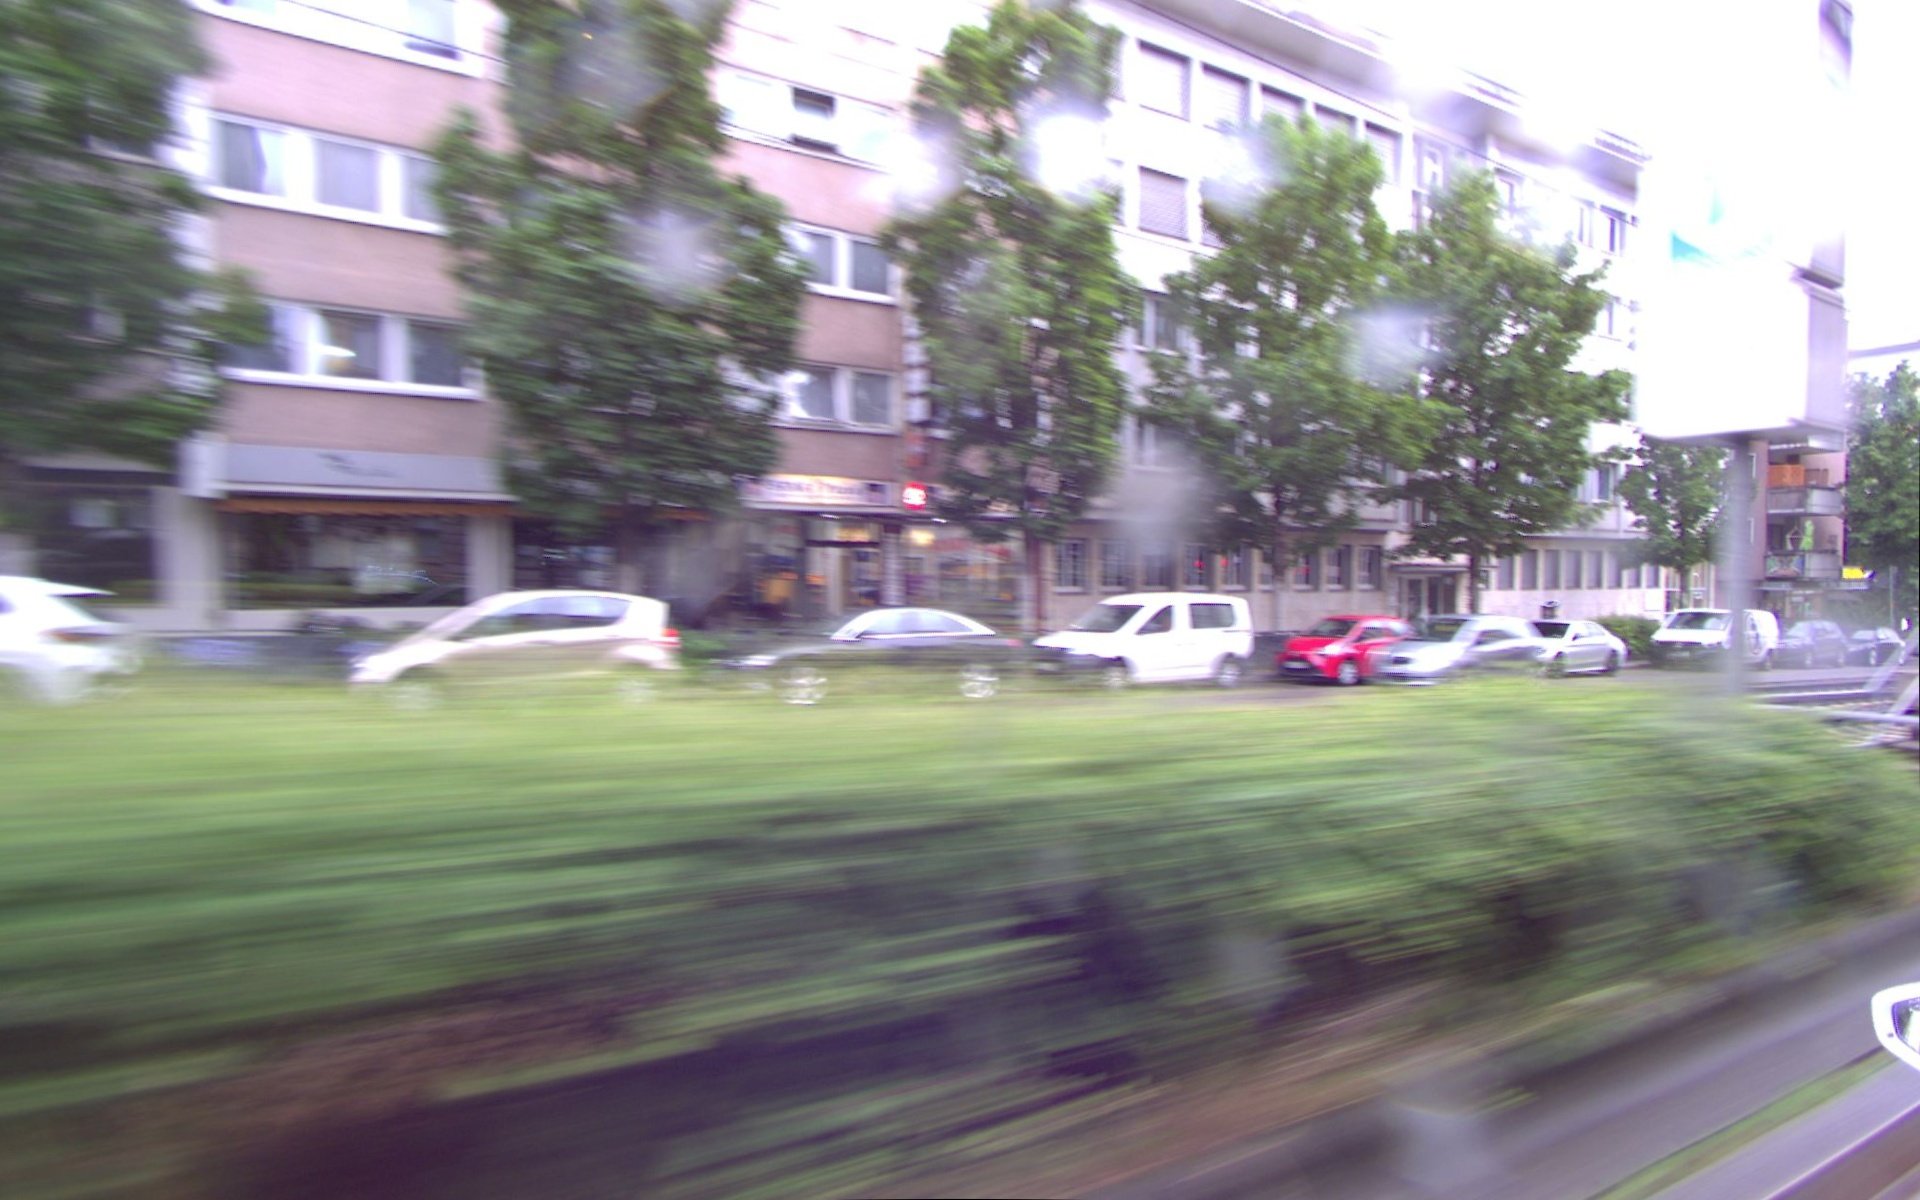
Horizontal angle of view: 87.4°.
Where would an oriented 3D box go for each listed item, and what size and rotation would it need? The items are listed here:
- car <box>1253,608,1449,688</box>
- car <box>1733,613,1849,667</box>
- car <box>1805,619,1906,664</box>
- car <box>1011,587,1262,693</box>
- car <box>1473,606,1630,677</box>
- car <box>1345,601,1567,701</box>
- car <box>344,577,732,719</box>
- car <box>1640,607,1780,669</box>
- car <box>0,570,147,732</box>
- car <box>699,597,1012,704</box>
[{"bbox_3d":[8.538,1.056,21.882,3.999,1.547,1.846,3,0,-31],"label":"car"},{"bbox_3d":[27.758,1.330,33.530,3.999,1.594,1.686,3,0,-31],"label":"car"},{"bbox_3d":[32.389,1.504,36.317,3.999,1.413,1.543,3,0,-31],"label":"car"},{"bbox_3d":[3.302,0.722,18.532,4.380,1.723,1.846,2,1,-31],"label":"car"},{"bbox_3d":[14.946,1.051,25.344,3.999,1.579,1.659,3,0,-31],"label":"car"},{"bbox_3d":[9.439,0.973,19.080,3.999,1.658,1.846,3,0,-31],"label":"car"},{"bbox_3d":[-5.414,0.595,13.109,4.380,1.569,1.846,2,1,-31],"label":"car"},{"bbox_3d":[22.717,1.169,30.368,4.885,1.658,1.843,3,0,-34],"label":"car"},{"bbox_3d":[-11.070,0.470,9.735,4.666,1.569,1.847,2,-3,-31],"label":"car"},{"bbox_3d":[-1.545,0.791,15.355,4.380,1.436,1.846,3,-2,-31],"label":"car"}]
